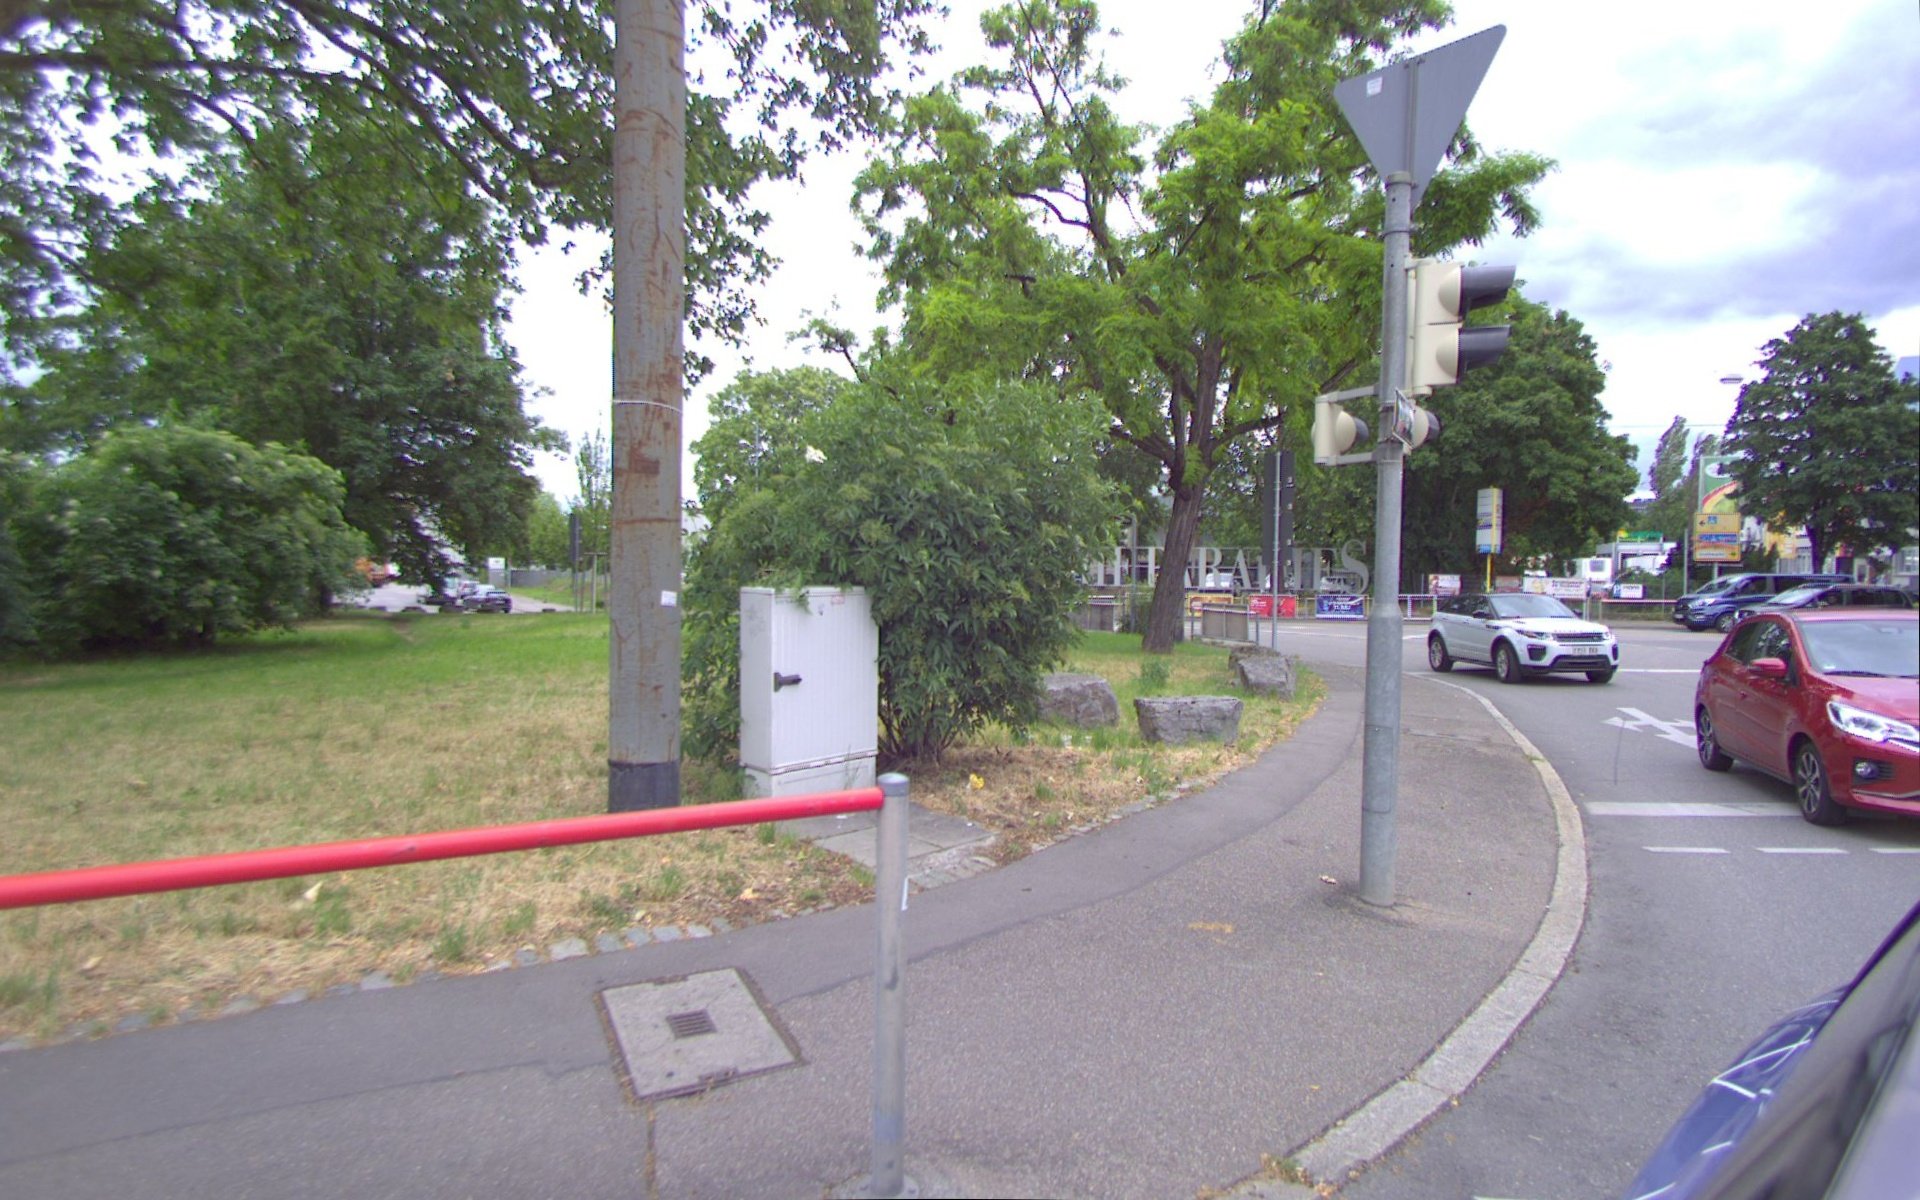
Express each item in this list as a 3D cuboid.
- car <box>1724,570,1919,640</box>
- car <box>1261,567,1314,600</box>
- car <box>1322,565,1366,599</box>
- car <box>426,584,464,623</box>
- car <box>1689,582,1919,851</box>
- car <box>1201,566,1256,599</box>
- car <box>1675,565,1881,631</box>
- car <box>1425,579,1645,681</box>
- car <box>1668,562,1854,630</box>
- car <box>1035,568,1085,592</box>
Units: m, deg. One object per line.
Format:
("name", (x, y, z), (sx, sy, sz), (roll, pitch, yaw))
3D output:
("car", (24.998, 0.105, 29.261), (4.160, 1.794, 1.829), (3, 1, 9))
("car", (17.169, -0.909, 52.845), (1.979, 1.475, 4.661), (-2, 2, 26))
("car", (19.808, -0.953, 52.195), (1.976, 1.475, 4.669), (-2, 2, 21))
("car", (-37.202, 0.204, 73.218), (2.148, 2.572, 6.494), (-4, 2, -25))
("car", (7.111, 0.692, 7.688), (1.748, 1.548, 3.712), (0, 2, 23))
("car", (14.455, -0.967, 54.384), (1.979, 1.475, 4.661), (-2, 2, 26))
("car", (26.094, -0.114, 32.470), (4.737, 1.969, 1.823), (1, 1, 17))
("car", (10.713, 0.464, 19.252), (1.882, 1.588, 4.112), (-3, 2, 2))
("car", (25.772, -0.177, 32.755), (4.180, 2.038, 1.990), (1, 3, 17))
("car", (6.890, -1.391, 69.268), (1.916, 1.448, 5.214), (-2, 2, 22))
